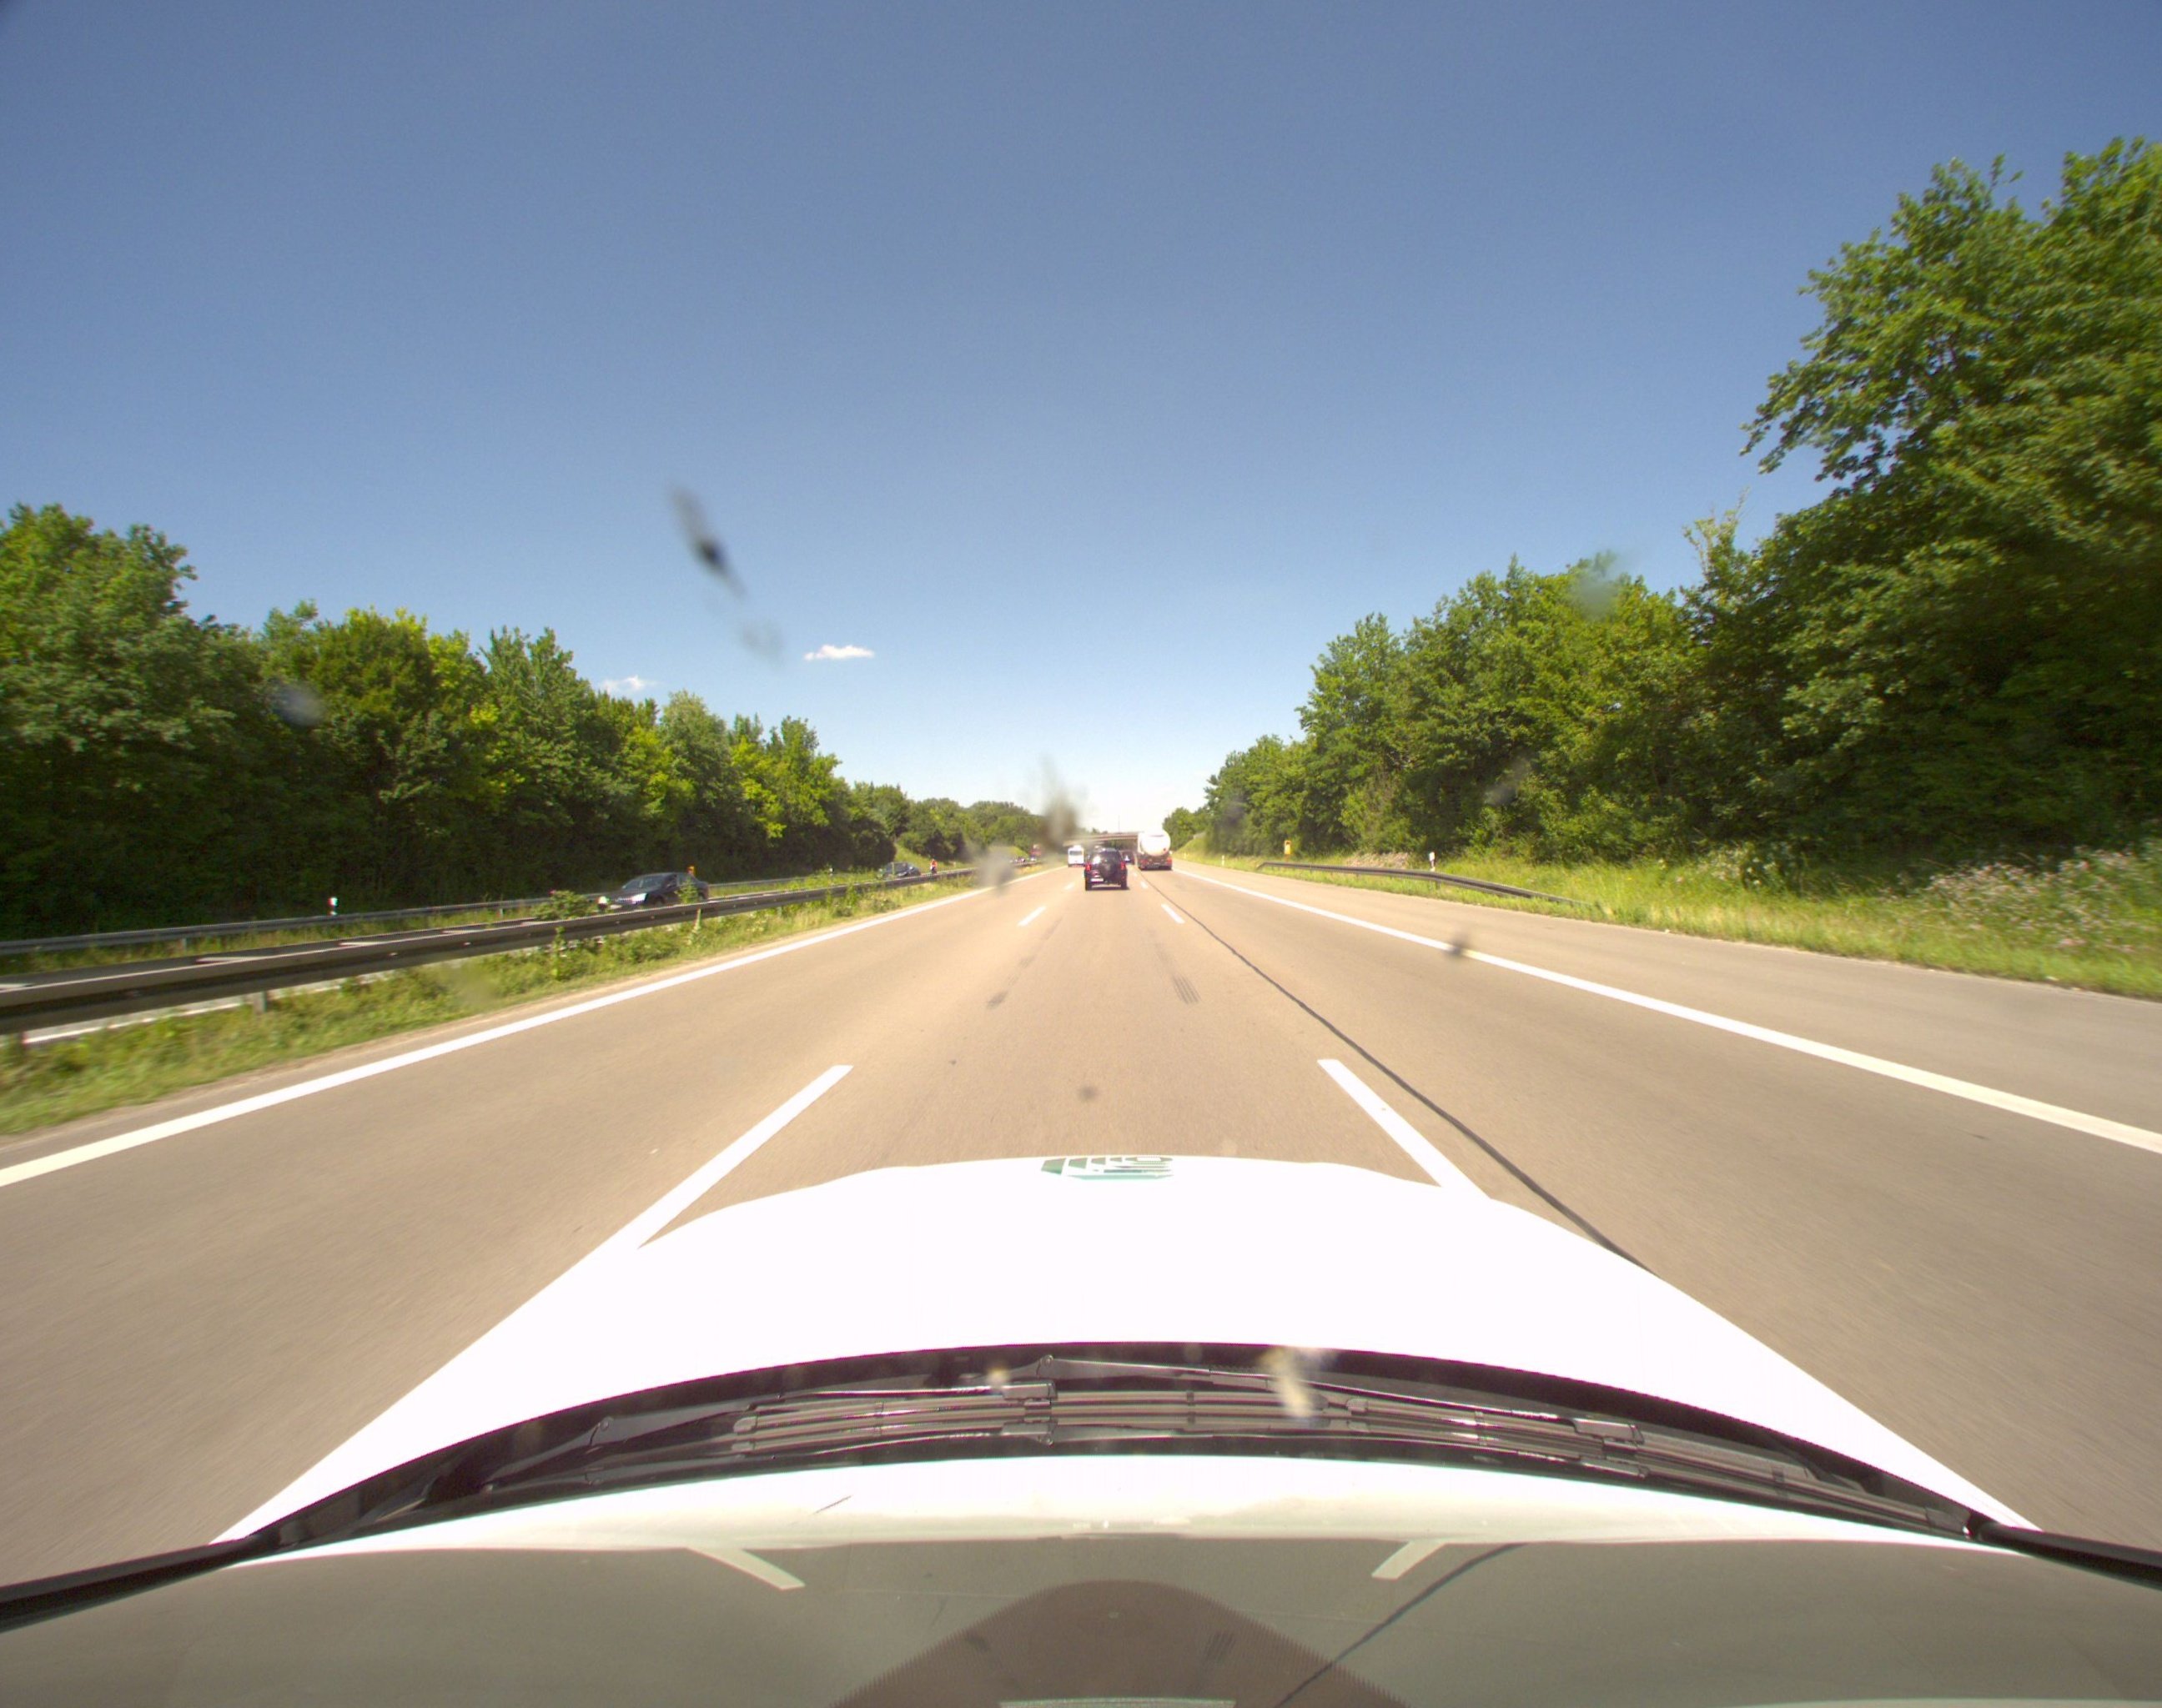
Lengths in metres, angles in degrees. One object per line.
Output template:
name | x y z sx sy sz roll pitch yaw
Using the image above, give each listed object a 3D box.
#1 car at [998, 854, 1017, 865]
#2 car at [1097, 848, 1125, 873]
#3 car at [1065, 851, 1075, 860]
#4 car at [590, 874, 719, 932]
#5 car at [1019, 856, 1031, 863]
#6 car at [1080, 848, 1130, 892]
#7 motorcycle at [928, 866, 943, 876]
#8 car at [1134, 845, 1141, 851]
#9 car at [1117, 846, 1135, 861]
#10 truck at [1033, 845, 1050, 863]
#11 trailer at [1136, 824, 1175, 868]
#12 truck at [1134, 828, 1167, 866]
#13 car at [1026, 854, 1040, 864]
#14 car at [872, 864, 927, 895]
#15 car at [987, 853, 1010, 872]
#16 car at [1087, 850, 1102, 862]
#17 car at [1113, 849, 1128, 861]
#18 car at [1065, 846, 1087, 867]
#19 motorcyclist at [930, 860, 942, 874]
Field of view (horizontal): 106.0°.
car | -10.814 0.811 120.797 1.986 1.475 5.627 -3 0 2
car | 2.294 0.468 61.764 1.986 1.706 4.339 -3 0 2
car | -2.508 0.290 186.621 1.986 1.865 4.900 -3 0 2
car | -14.501 1.611 28.050 1.860 1.585 4.560 -3 0 2
car | -10.936 1.088 159.124 1.740 1.297 5.066 -3 0 3
car | 1.091 0.634 34.763 1.898 1.665 4.004 -3 0 4
motorcycle | -15.335 1.779 86.000 0.931 1.017 2.656 -3 0 2
car | 16.510 -1.772 237.563 1.804 1.746 4.004 -3 0 3
car | 5.302 -0.048 95.943 1.984 1.684 4.005 -3 -1 4
truck | -9.161 -0.054 190.084 2.668 3.769 9.927 -4 0 3
trailer | 6.196 -0.641 69.475 2.638 3.389 11.158 -2 0 2
truck | 6.429 -0.623 76.090 2.628 3.374 6.489 -2 0 1
car | -8.714 0.852 147.446 1.985 1.629 4.578 -3 0 3
car | -10.323 1.407 46.601 1.986 1.520 4.429 -3 0 1
car | -8.698 0.860 85.735 1.684 1.881 5.020 -3 0 1
car | 1.904 0.288 113.087 1.986 1.552 4.001 -3 -1 2
car | 6.214 0.172 127.744 1.984 1.750 4.210 -3 0 5
car | -0.471 0.265 87.993 1.985 2.013 4.954 -3 0 3
motorcyclist | -15.357 1.382 86.062 0.937 1.443 1.357 -3 0 1
